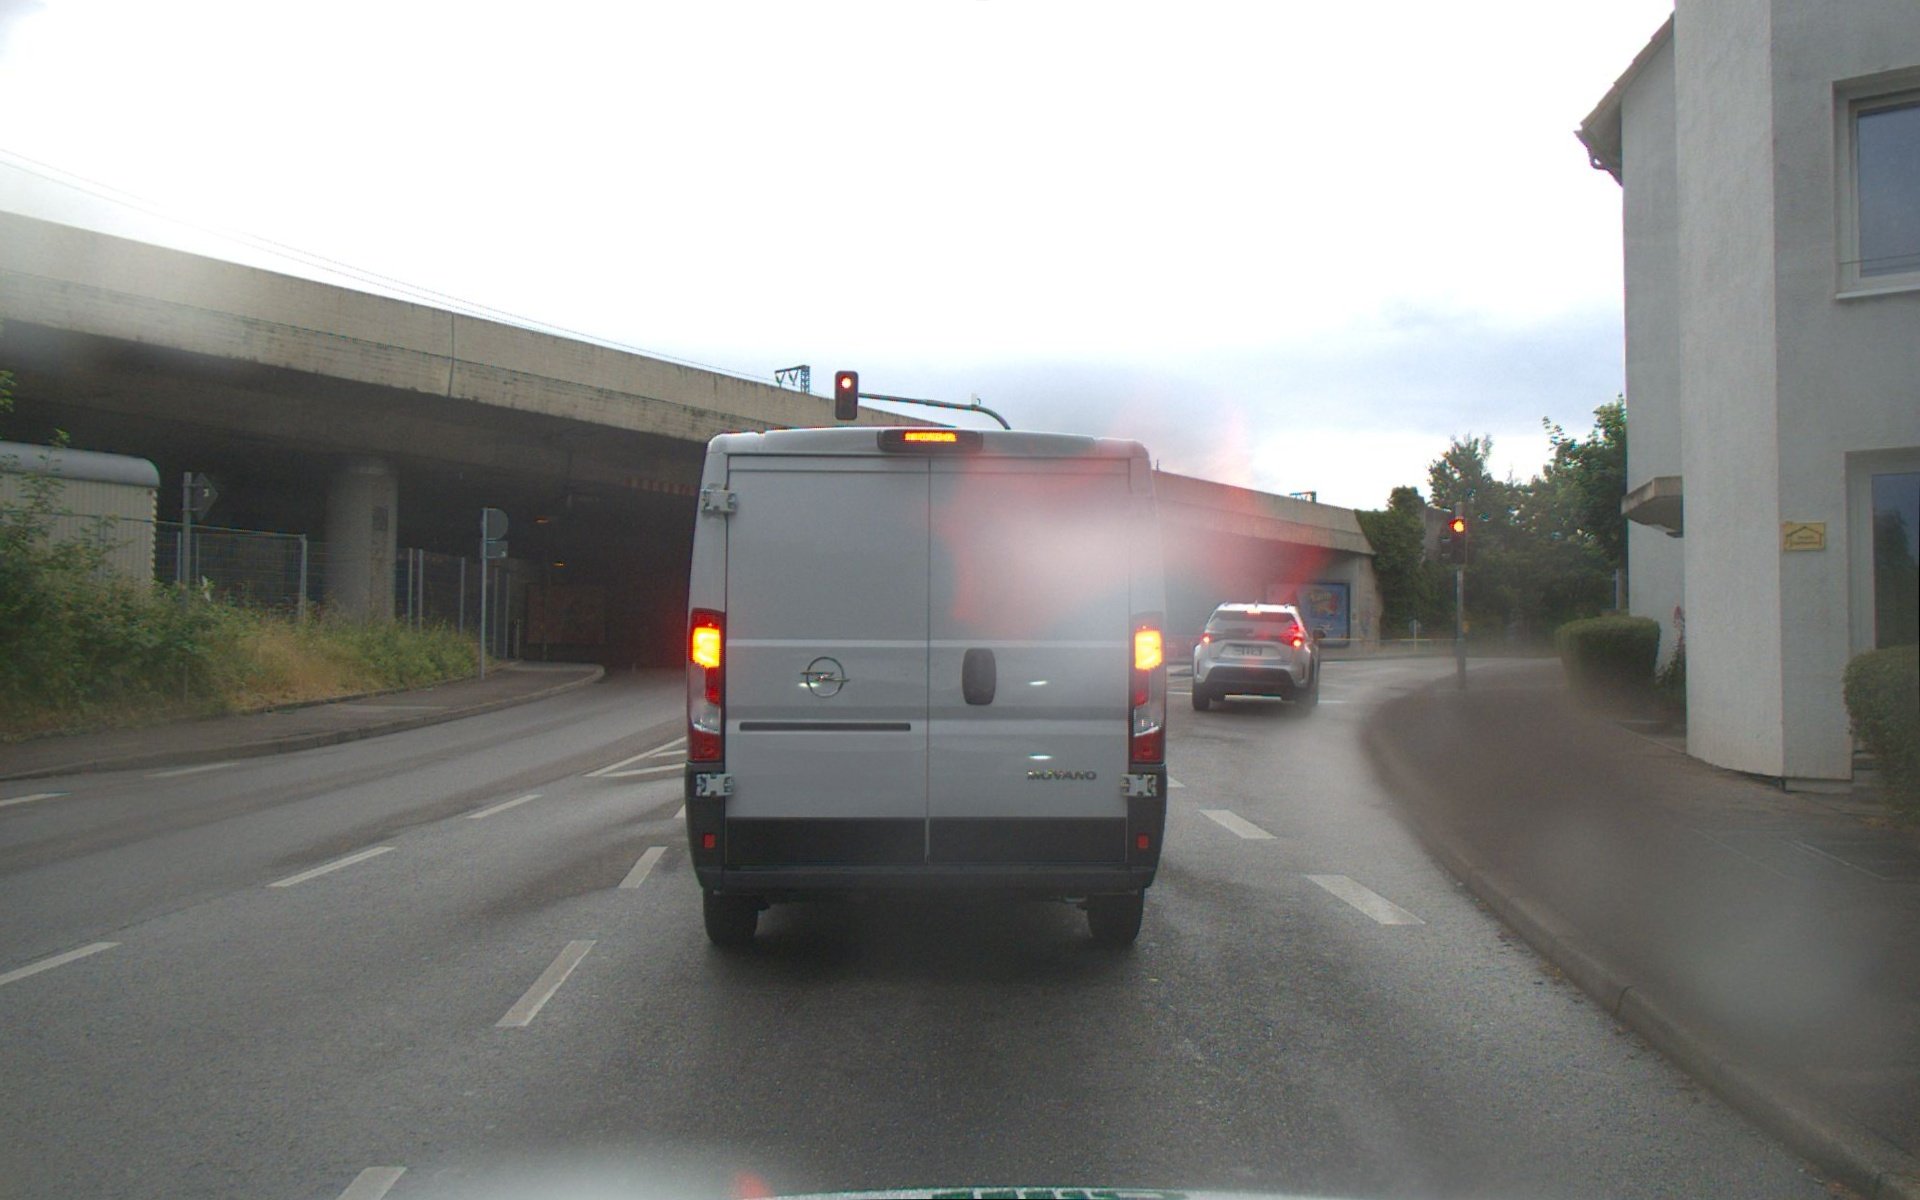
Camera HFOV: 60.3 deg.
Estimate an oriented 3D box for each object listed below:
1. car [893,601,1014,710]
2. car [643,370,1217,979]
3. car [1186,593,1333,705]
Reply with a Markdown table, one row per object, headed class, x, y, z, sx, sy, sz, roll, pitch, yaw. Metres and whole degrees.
| class | x | y | z | sx | sy | sz | roll | pitch | yaw |
| --- | --- | --- | --- | --- | --- | --- | --- | --- | --- |
| car | -0.037 | 0.952 | 28.913 | 1.952 | 1.759 | 4.000 | 0 | -2 | 2 |
| car | -0.198 | 0.300 | 9.166 | 2.258 | 2.384 | 5.280 | 0 | 0 | -2 |
| car | 4.659 | 0.720 | 25.296 | 1.951 | 1.576 | 4.003 | 0 | -1 | 14 |
